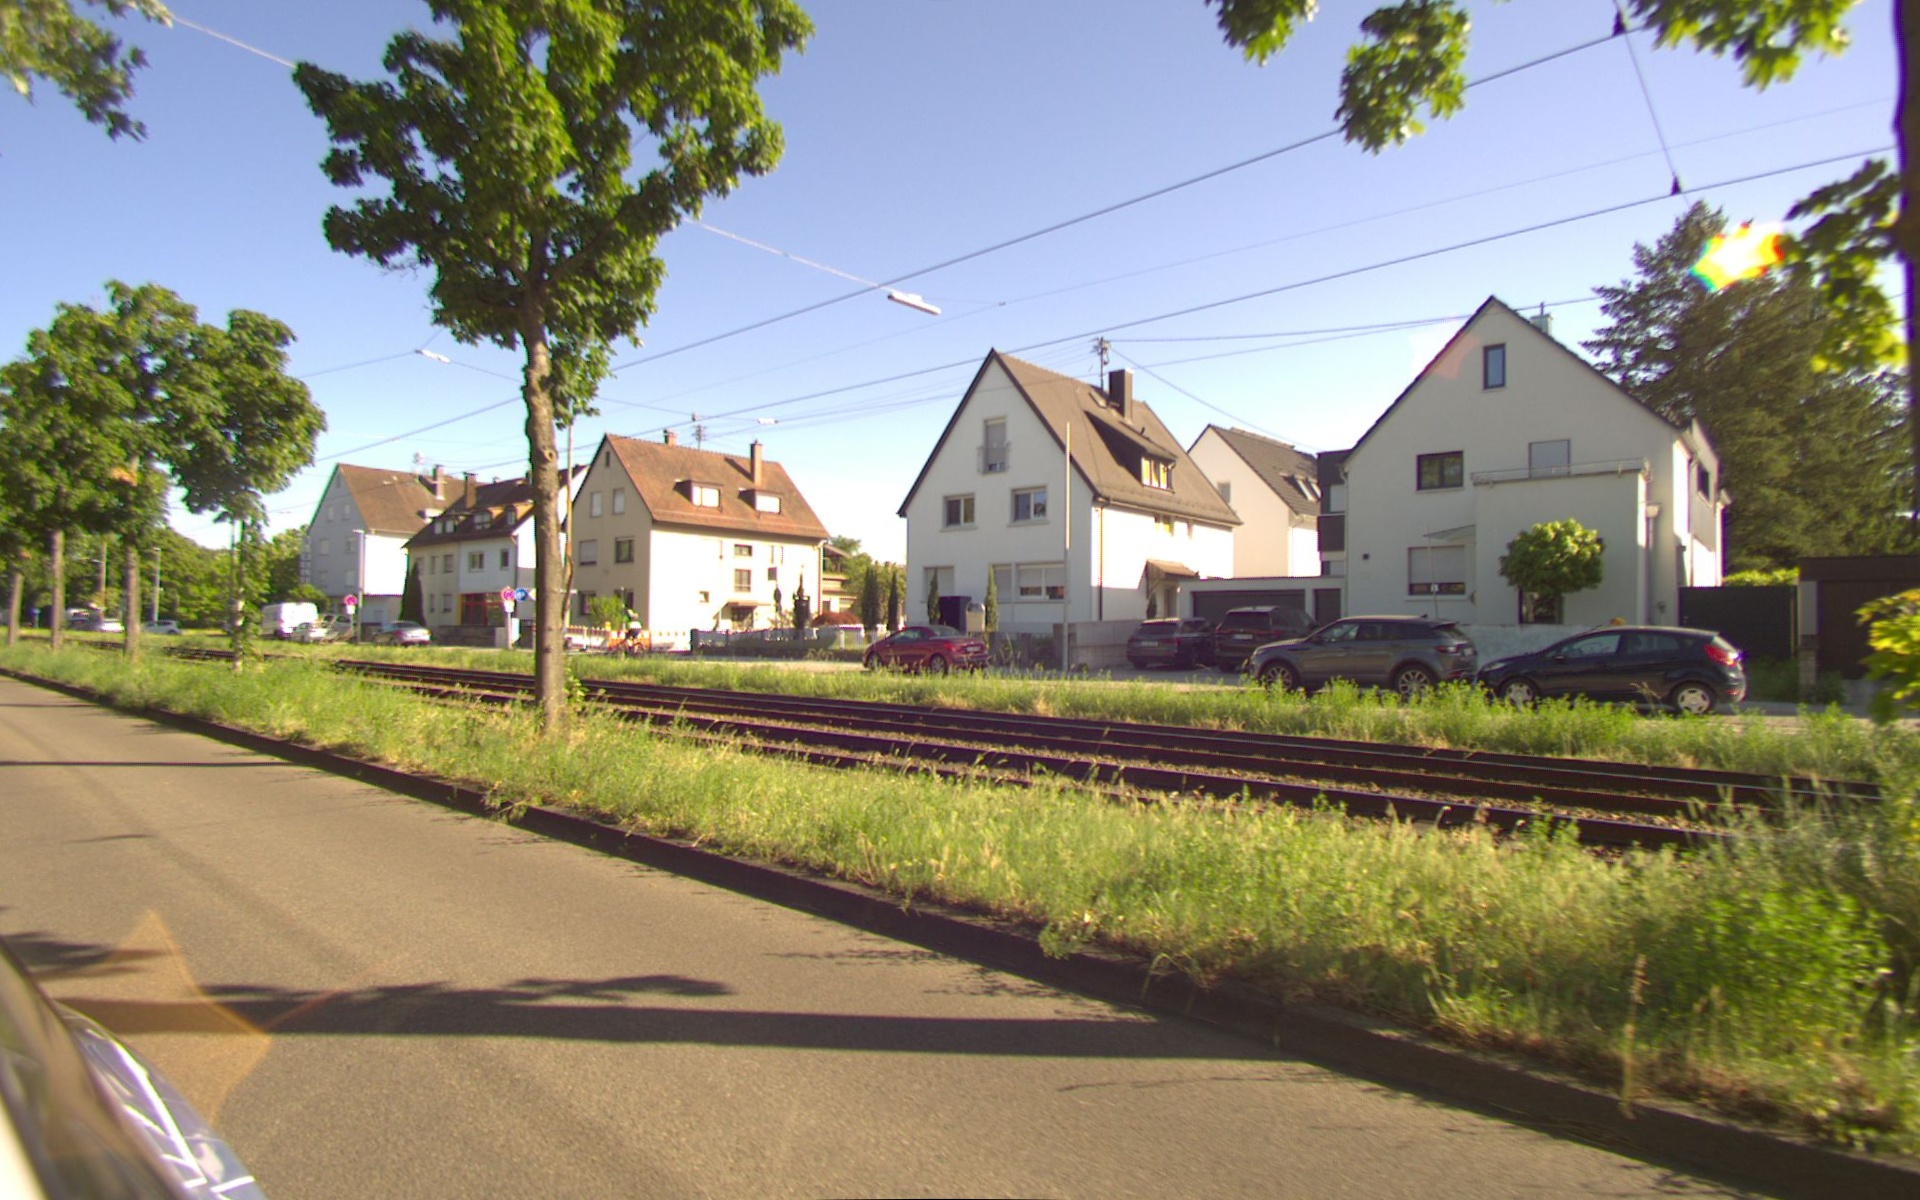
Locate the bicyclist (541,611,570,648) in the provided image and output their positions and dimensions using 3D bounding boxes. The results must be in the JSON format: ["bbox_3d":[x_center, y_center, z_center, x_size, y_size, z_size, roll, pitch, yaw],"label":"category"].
[{"bbox_3d":[-14.908,1.087,37.289,0.881,1.347,0.681,-1,-2,41],"label":"bicyclist"}]

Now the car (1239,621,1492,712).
[{"bbox_3d":[7.959,1.223,20.148,4.385,1.580,1.626,-1,-1,43],"label":"car"}]

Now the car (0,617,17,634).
[{"bbox_3d":[-147.413,3.968,156.137,6.795,2.600,2.202,-2,-1,41],"label":"car"}]

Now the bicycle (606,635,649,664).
[{"bbox_3d":[-11.227,1.649,34.150,2.095,0.935,0.394,-1,-2,42],"label":"bicycle"}]

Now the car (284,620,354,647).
[{"bbox_3d":[-49.101,2.543,77.567,1.992,1.967,4.108,-1,-1,30],"label":"car"}]

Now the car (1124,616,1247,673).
[{"bbox_3d":[6.599,1.220,29.350,1.935,1.474,4.174,-1,-1,37],"label":"car"}]

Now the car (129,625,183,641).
[{"bbox_3d":[-73.443,2.996,92.489,3.563,1.489,1.756,1,-2,-28],"label":"car"}]

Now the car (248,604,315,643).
[{"bbox_3d":[-44.631,1.502,66.457,6.671,2.478,1.973,-1,-1,41],"label":"car"}]

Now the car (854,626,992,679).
[{"bbox_3d":[-1.098,1.424,28.402,4.000,1.336,1.478,-1,-1,43],"label":"car"}]

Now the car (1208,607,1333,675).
[{"bbox_3d":[8.458,1.044,27.377,1.997,1.682,3.950,-1,-1,37],"label":"car"}]

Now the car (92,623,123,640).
[{"bbox_3d":[-88.104,3.250,104.555,4.772,1.619,1.804,-1,-1,42],"label":"car"}]

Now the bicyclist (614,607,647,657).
[{"bbox_3d":[-11.095,1.070,34.085,0.881,1.665,0.681,-1,-2,41],"label":"bicyclist"}]

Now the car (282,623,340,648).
[{"bbox_3d":[-40.118,2.191,62.520,4.655,1.423,1.805,-1,-1,41],"label":"car"}]

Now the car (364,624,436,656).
[{"bbox_3d":[-29.562,2.093,53.393,4.496,1.593,1.972,-2,-1,42],"label":"car"}]

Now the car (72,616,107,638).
[{"bbox_3d":[-97.823,2.978,113.683,6.462,2.394,2.160,-1,-1,41],"label":"car"}]

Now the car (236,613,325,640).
[{"bbox_3d":[-67.688,2.630,100.955,2.325,2.526,7.003,-1,-1,35],"label":"car"}]

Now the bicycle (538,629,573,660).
[{"bbox_3d":[-14.927,1.631,37.350,1.879,1.078,0.394,-1,-2,42],"label":"bicycle"}]

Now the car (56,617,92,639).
[{"bbox_3d":[-77.780,2.449,88.800,4.523,1.897,1.895,-1,-1,42],"label":"car"}]

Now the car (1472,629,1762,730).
[{"bbox_3d":[11.130,1.263,17.309,3.987,1.462,1.597,-1,-1,41],"label":"car"}]
